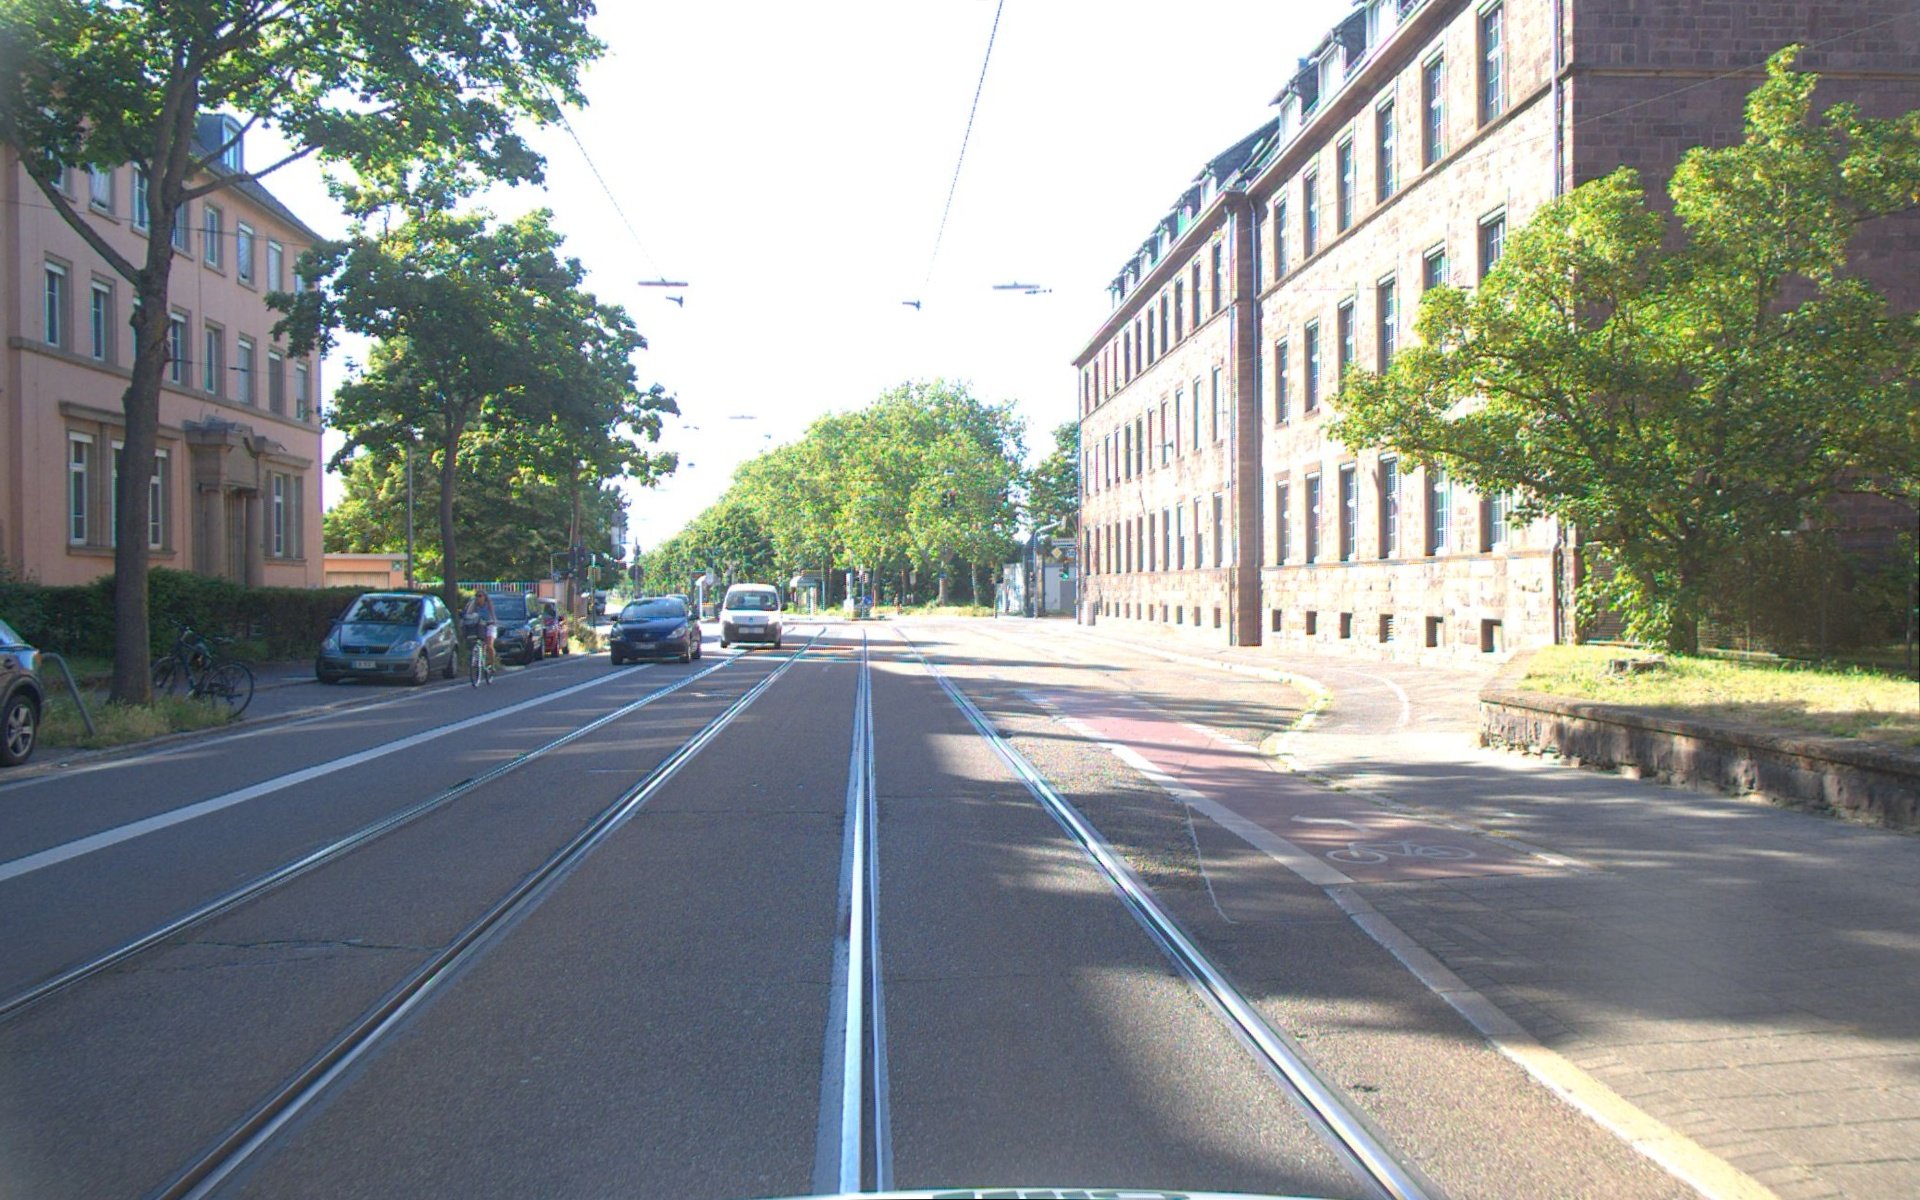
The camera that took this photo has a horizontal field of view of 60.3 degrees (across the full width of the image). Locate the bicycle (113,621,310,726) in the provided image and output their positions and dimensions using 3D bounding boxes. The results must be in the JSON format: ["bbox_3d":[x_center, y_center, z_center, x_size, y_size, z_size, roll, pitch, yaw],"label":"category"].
[{"bbox_3d":[-9.418,0.918,20.840,2.237,1.219,0.560,2,1,3],"label":"bicycle"}]

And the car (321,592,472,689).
[{"bbox_3d":[-10.316,0.694,30.544,1.712,1.597,4.064,2,0,-6],"label":"car"}]

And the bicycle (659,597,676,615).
[{"bbox_3d":[-18.419,0.351,104.068,0.738,1.106,2.166,-1,0,-18],"label":"bicycle"}]

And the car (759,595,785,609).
[{"bbox_3d":[-22.544,0.246,198.209,1.917,1.638,3.970,-1,0,-24],"label":"car"}]

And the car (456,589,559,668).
[{"bbox_3d":[-10.663,0.629,39.228,1.712,1.689,4.383,2,0,-8],"label":"car"}]

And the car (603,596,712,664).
[{"bbox_3d":[-6.785,0.634,37.500,1.773,1.411,4.438,-1,0,-2],"label":"car"}]

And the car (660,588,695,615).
[{"bbox_3d":[-19.525,0.072,114.123,1.962,1.791,3.982,-1,0,-17],"label":"car"}]

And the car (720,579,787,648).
[{"bbox_3d":[-6.012,0.361,48.588,1.774,1.921,4.436,-1,0,-5],"label":"car"}]

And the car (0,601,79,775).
[{"bbox_3d":[-9.340,0.783,13.960,1.711,1.516,4.320,2,0,-4],"label":"car"}]

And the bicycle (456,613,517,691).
[{"bbox_3d":[-8.061,0.860,28.240,0.547,1.219,2.289,-4,1,-6],"label":"bicycle"}]

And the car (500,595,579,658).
[{"bbox_3d":[-11.097,0.670,43.807,1.552,1.514,3.607,2,0,-8],"label":"car"}]

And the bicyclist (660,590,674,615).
[{"bbox_3d":[-18.417,0.163,104.060,0.738,1.530,0.959,-1,0,-18],"label":"bicyclist"}]

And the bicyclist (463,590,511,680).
[{"bbox_3d":[-8.088,0.585,28.313,0.547,1.482,0.868,-4,1,-6],"label":"bicyclist"}]
